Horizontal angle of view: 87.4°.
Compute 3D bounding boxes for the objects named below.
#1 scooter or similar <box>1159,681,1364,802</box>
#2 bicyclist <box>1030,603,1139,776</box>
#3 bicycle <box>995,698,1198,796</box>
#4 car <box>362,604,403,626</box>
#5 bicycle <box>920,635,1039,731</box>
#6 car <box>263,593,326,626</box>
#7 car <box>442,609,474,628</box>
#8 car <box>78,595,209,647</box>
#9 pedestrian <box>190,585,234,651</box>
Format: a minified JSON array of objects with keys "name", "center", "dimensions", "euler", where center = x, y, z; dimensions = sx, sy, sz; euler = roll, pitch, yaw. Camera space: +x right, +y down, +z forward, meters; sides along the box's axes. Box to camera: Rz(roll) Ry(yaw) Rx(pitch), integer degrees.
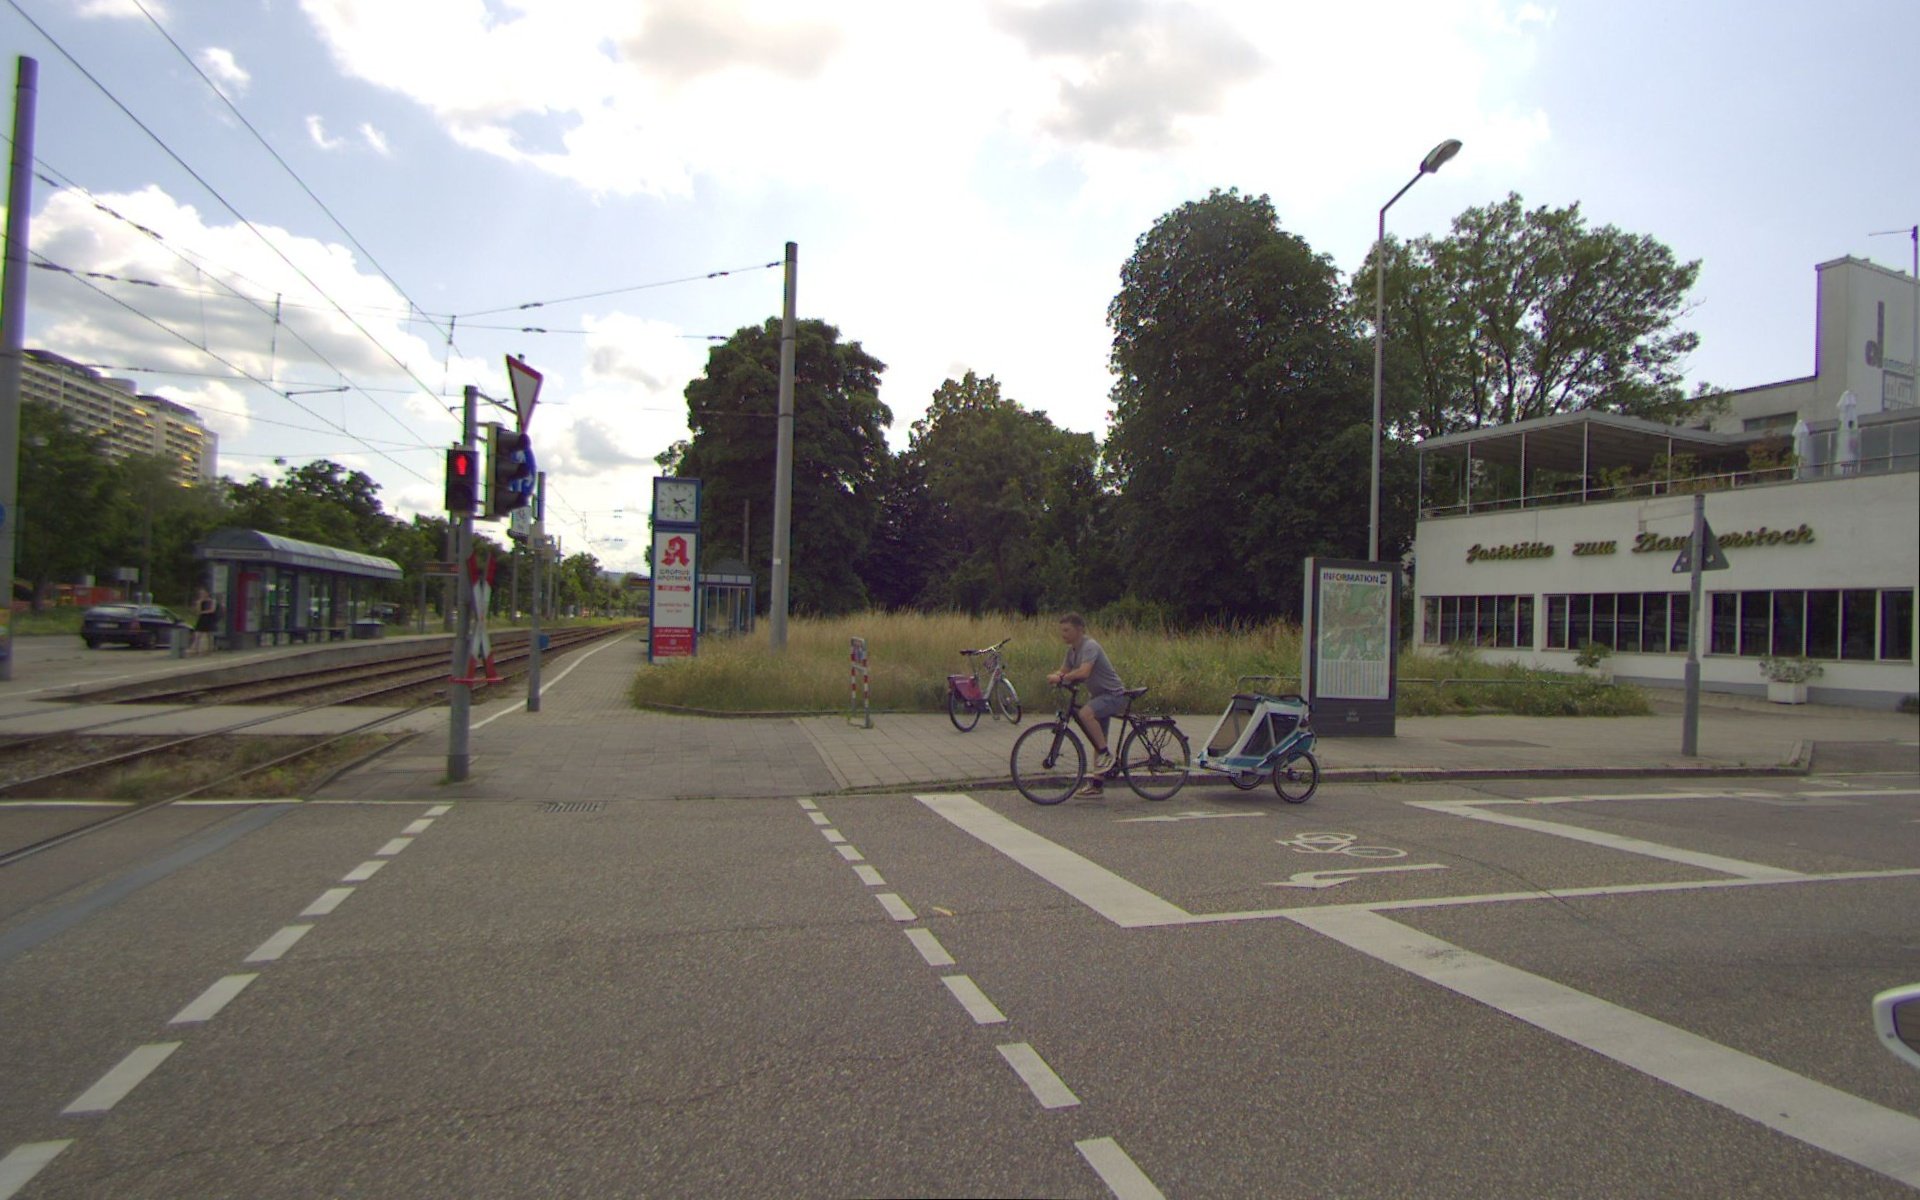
[{"name":"scooter or similar","center":[2.778,1.285,9.339],"dimensions":[1.553,0.992,0.960],"euler":[2,-1,-14]},{"name":"bicyclist","center":[1.109,0.791,8.995],"dimensions":[0.827,1.495,0.454],"euler":[2,-1,-14]},{"name":"bicycle","center":[1.219,1.314,9.015],"dimensions":[1.698,0.775,0.554],"euler":[3,-2,-14]},{"name":"car","center":[-43.597,1.159,75.949],"dimensions":[1.841,1.524,3.984],"euler":[4,-2,-18]},{"name":"bicycle","center":[0.281,1.061,13.337],"dimensions":[0.690,1.147,1.653],"euler":[2,1,39]},{"name":"car","center":[-36.775,0.548,55.621],"dimensions":[1.764,1.690,4.322],"euler":[4,-2,-18]},{"name":"car","center":[-45.096,1.642,90.325],"dimensions":[1.763,1.545,4.286],"euler":[4,-2,-17]},{"name":"car","center":[-26.584,0.684,32.890],"dimensions":[1.733,1.485,4.416],"euler":[4,-2,-18]},{"name":"pedestrian","center":[-18.035,0.433,24.234],"dimensions":[0.647,1.533,0.714],"euler":[2,-1,-25]}]
